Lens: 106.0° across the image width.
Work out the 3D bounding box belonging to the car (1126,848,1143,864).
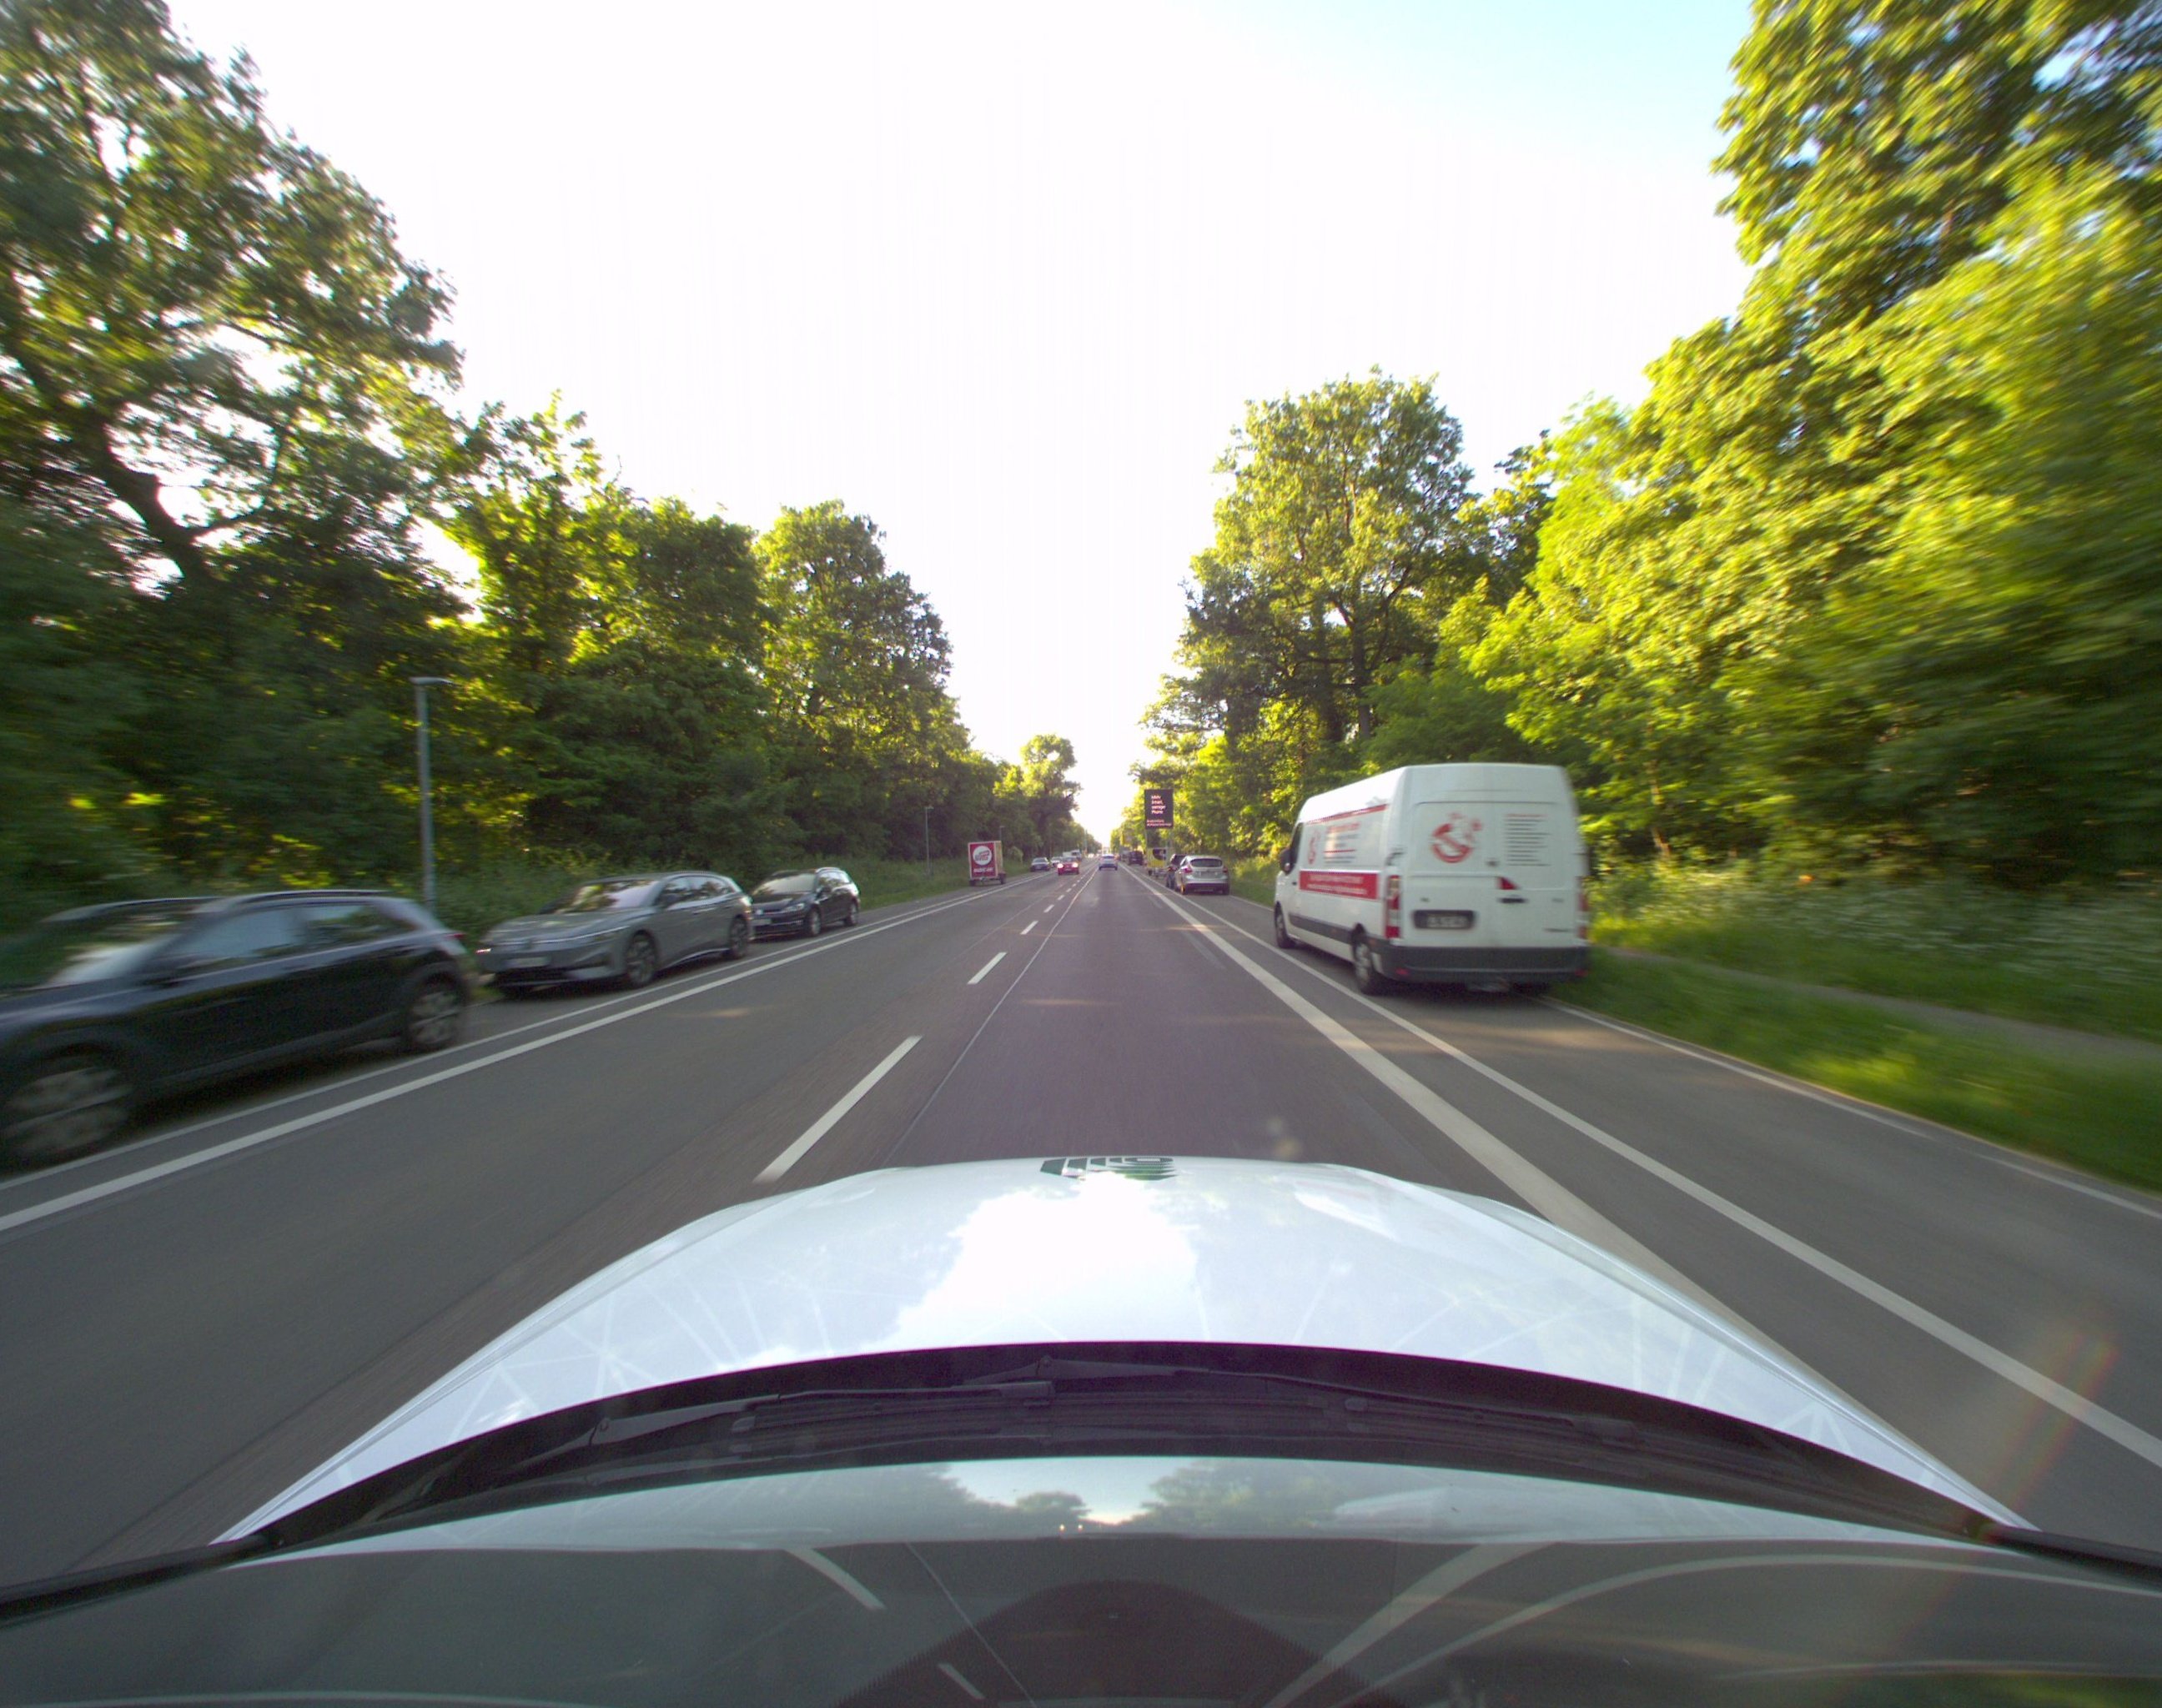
[{"bbox_3d":[7.083,0.271,108.808,2.105,2.013,5.042,0,0,2],"label":"car"}]

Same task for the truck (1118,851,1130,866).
[{"bbox_3d":[9.709,1.031,183.148,2.495,3.366,7.111,-1,0,2],"label":"truck"}]

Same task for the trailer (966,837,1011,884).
[{"bbox_3d":[-5.432,0.392,48.465,1.986,2.621,4.088,-2,0,2],"label":"trailer"}]

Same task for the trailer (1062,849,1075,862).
[{"bbox_3d":[-2.362,0.220,155.213,2.066,2.293,3.490,-3,0,4],"label":"trailer"}]

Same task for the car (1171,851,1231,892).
[{"bbox_3d":[4.592,0.618,31.595,1.729,1.488,4.401,0,0,1],"label":"car"}]

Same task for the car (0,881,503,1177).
[{"bbox_3d":[-6.650,1.071,5.923,1.665,1.495,4.196,-5,0,2],"label":"car"}]

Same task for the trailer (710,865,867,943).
[{"bbox_3d":[-6.496,1.043,18.664,1.834,1.466,4.468,-1,0,2],"label":"trailer"}]

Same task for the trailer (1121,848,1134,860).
[{"bbox_3d":[8.730,-0.025,152.798,1.600,2.112,2.409,-1,0,22],"label":"trailer"}]

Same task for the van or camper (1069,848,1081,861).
[{"bbox_3d":[-1.337,0.094,186.508,2.293,2.768,5.560,-4,0,2],"label":"van or camper"}]

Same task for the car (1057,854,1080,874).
[{"bbox_3d":[-0.945,0.782,64.996,1.598,1.420,3.520,-3,0,2],"label":"car"}]

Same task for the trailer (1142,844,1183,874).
[{"bbox_3d":[5.951,0.354,59.123,1.945,2.022,3.864,-2,0,21],"label":"trailer"}]

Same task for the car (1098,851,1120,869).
[{"bbox_3d":[2.748,0.536,79.559,1.986,1.640,4.002,-2,0,2],"label":"car"}]

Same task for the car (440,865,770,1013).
[{"bbox_3d":[-6.635,1.047,12.233,1.665,1.574,5.129,-5,0,2],"label":"car"}]

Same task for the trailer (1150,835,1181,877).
[{"bbox_3d":[5.282,0.133,51.219,1.607,2.508,4.001,-1,0,2],"label":"trailer"}]

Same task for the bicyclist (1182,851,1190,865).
[{"bbox_3d":[9.688,0.364,75.375,0.608,1.324,1.176,-1,0,2],"label":"bicyclist"}]

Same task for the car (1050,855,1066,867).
[{"bbox_3d":[-3.163,0.926,114.188,1.860,1.450,4.073,-4,0,2],"label":"car"}]

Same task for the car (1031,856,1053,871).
[{"bbox_3d":[-4.121,0.994,86.962,1.848,1.464,4.786,-2,0,2],"label":"car"}]

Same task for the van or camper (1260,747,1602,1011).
[{"bbox_3d":[4.043,0.235,10.974,2.117,2.482,6.309,-2,0,3],"label":"van or camper"}]

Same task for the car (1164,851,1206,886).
[{"bbox_3d":[4.647,0.614,36.576,1.580,1.530,3.012,0,0,2],"label":"car"}]
